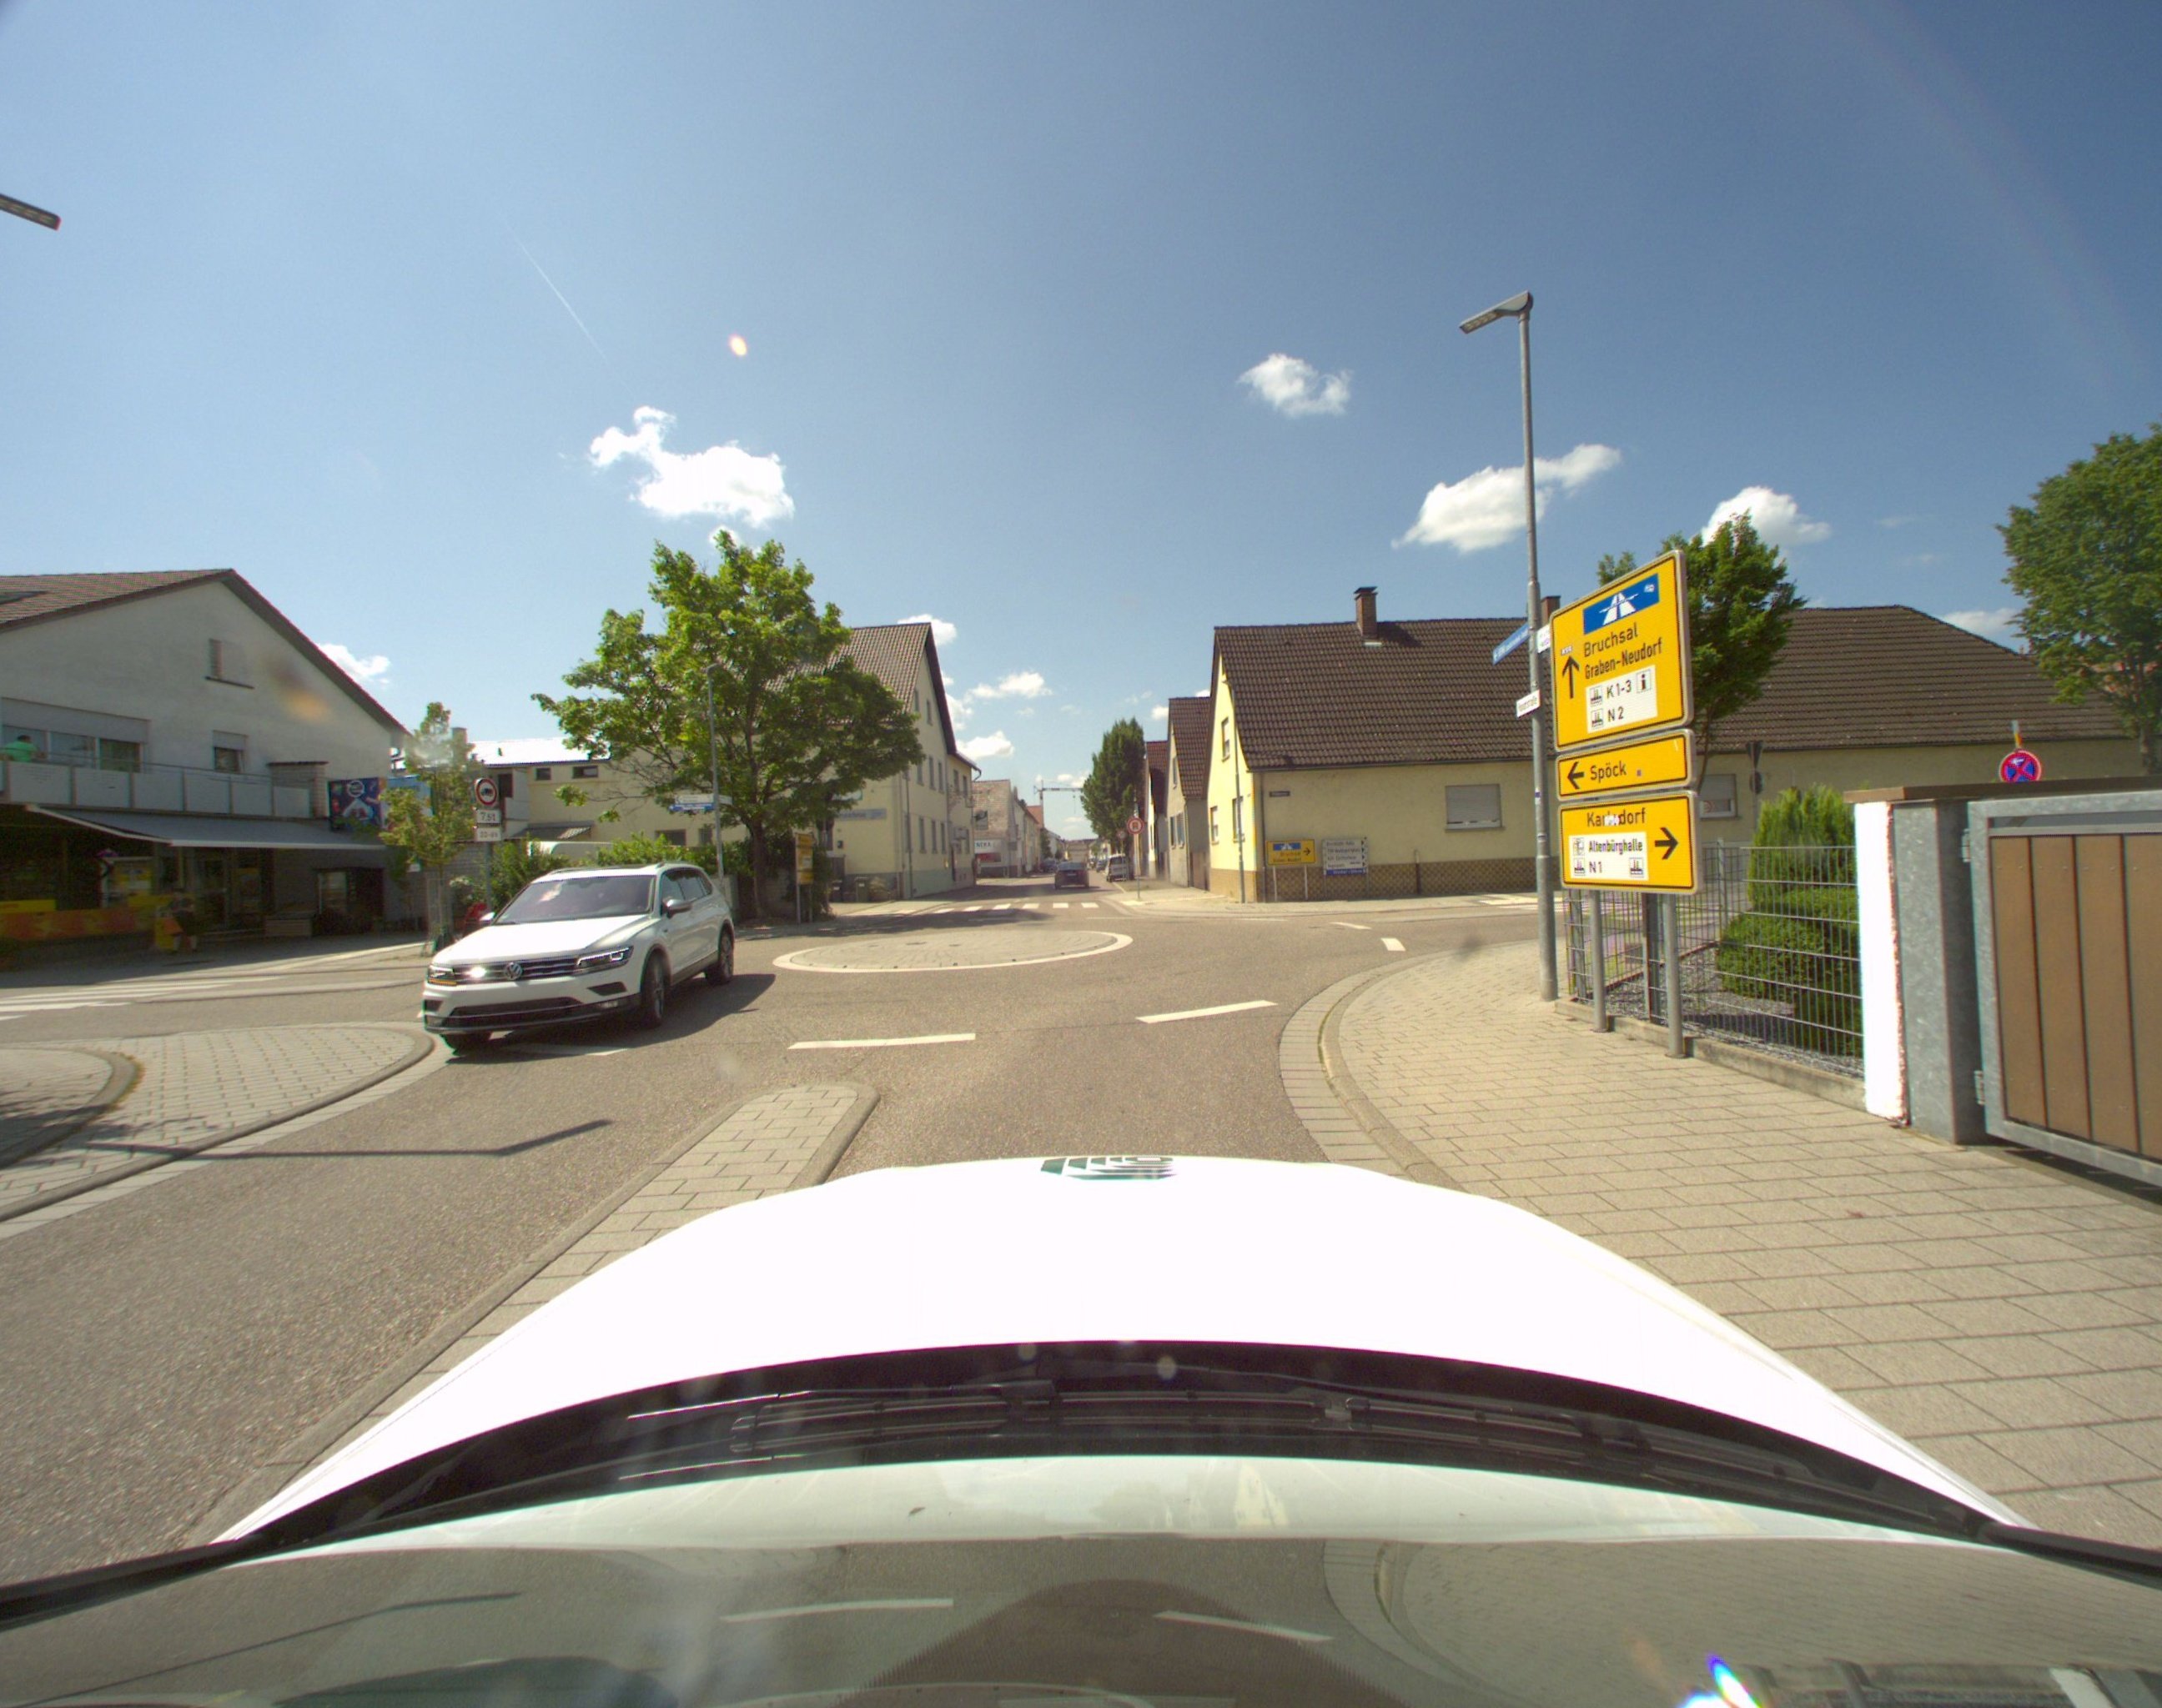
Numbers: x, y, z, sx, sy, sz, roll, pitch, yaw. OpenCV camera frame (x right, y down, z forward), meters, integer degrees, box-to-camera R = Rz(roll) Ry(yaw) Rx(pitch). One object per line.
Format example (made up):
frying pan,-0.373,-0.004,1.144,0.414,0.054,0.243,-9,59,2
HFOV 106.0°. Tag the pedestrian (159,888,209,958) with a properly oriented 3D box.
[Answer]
pedestrian,-21.654,1.635,19.670,0.869,1.589,0.755,-1,1,43

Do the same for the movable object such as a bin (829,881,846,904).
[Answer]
movable object such as a bin,-10.250,1.621,34.300,0.477,0.928,0.547,-3,-1,2

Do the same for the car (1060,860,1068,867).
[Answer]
car,-4.191,2.405,200.716,1.804,1.589,3.999,-2,0,-1

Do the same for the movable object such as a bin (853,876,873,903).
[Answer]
movable object such as a bin,-9.196,1.493,34.437,0.597,1.079,0.659,-3,-1,2

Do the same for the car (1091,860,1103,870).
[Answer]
car,2.384,1.555,119.956,1.714,1.355,4.156,-2,0,0

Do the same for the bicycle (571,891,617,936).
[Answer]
bicycle,-12.994,1.564,21.785,0.400,1.003,1.974,-2,1,-12

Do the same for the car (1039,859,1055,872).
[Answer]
car,-4.409,1.430,105.792,1.804,1.589,3.998,-2,0,-1

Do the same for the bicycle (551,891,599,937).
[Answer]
bicycle,-13.430,1.567,21.665,0.400,1.003,1.974,-2,1,-12

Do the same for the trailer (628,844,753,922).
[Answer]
trailer,-12.710,0.885,26.852,1.872,2.335,4.523,-1,0,1

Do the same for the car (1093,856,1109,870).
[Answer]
car,2.288,1.042,91.347,1.713,1.461,4.158,-2,0,2

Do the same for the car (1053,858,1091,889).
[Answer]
car,-0.463,1.037,44.742,1.895,1.563,4.477,-2,0,1

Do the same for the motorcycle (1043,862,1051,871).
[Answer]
motorcycle,-4.259,1.584,101.870,0.844,1.170,2.467,-1,-1,-1

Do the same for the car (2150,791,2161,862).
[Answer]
car,32.079,-0.852,21.824,4.453,1.938,1.998,-3,0,-3

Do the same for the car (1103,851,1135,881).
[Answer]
car,2.529,0.799,54.797,1.715,1.790,4.141,-4,0,-2

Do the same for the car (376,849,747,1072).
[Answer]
car,-5.310,0.907,9.189,1.867,1.709,4.525,-5,0,-11

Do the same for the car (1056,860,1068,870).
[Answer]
car,-3.020,1.751,131.023,1.804,1.589,3.998,-2,0,-1

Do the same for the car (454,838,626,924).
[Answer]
car,-17.906,0.829,27.410,1.930,2.567,5.647,-1,0,1

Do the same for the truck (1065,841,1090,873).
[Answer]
truck,-0.368,0.468,111.820,3.133,4.251,9.303,-1,-1,1
